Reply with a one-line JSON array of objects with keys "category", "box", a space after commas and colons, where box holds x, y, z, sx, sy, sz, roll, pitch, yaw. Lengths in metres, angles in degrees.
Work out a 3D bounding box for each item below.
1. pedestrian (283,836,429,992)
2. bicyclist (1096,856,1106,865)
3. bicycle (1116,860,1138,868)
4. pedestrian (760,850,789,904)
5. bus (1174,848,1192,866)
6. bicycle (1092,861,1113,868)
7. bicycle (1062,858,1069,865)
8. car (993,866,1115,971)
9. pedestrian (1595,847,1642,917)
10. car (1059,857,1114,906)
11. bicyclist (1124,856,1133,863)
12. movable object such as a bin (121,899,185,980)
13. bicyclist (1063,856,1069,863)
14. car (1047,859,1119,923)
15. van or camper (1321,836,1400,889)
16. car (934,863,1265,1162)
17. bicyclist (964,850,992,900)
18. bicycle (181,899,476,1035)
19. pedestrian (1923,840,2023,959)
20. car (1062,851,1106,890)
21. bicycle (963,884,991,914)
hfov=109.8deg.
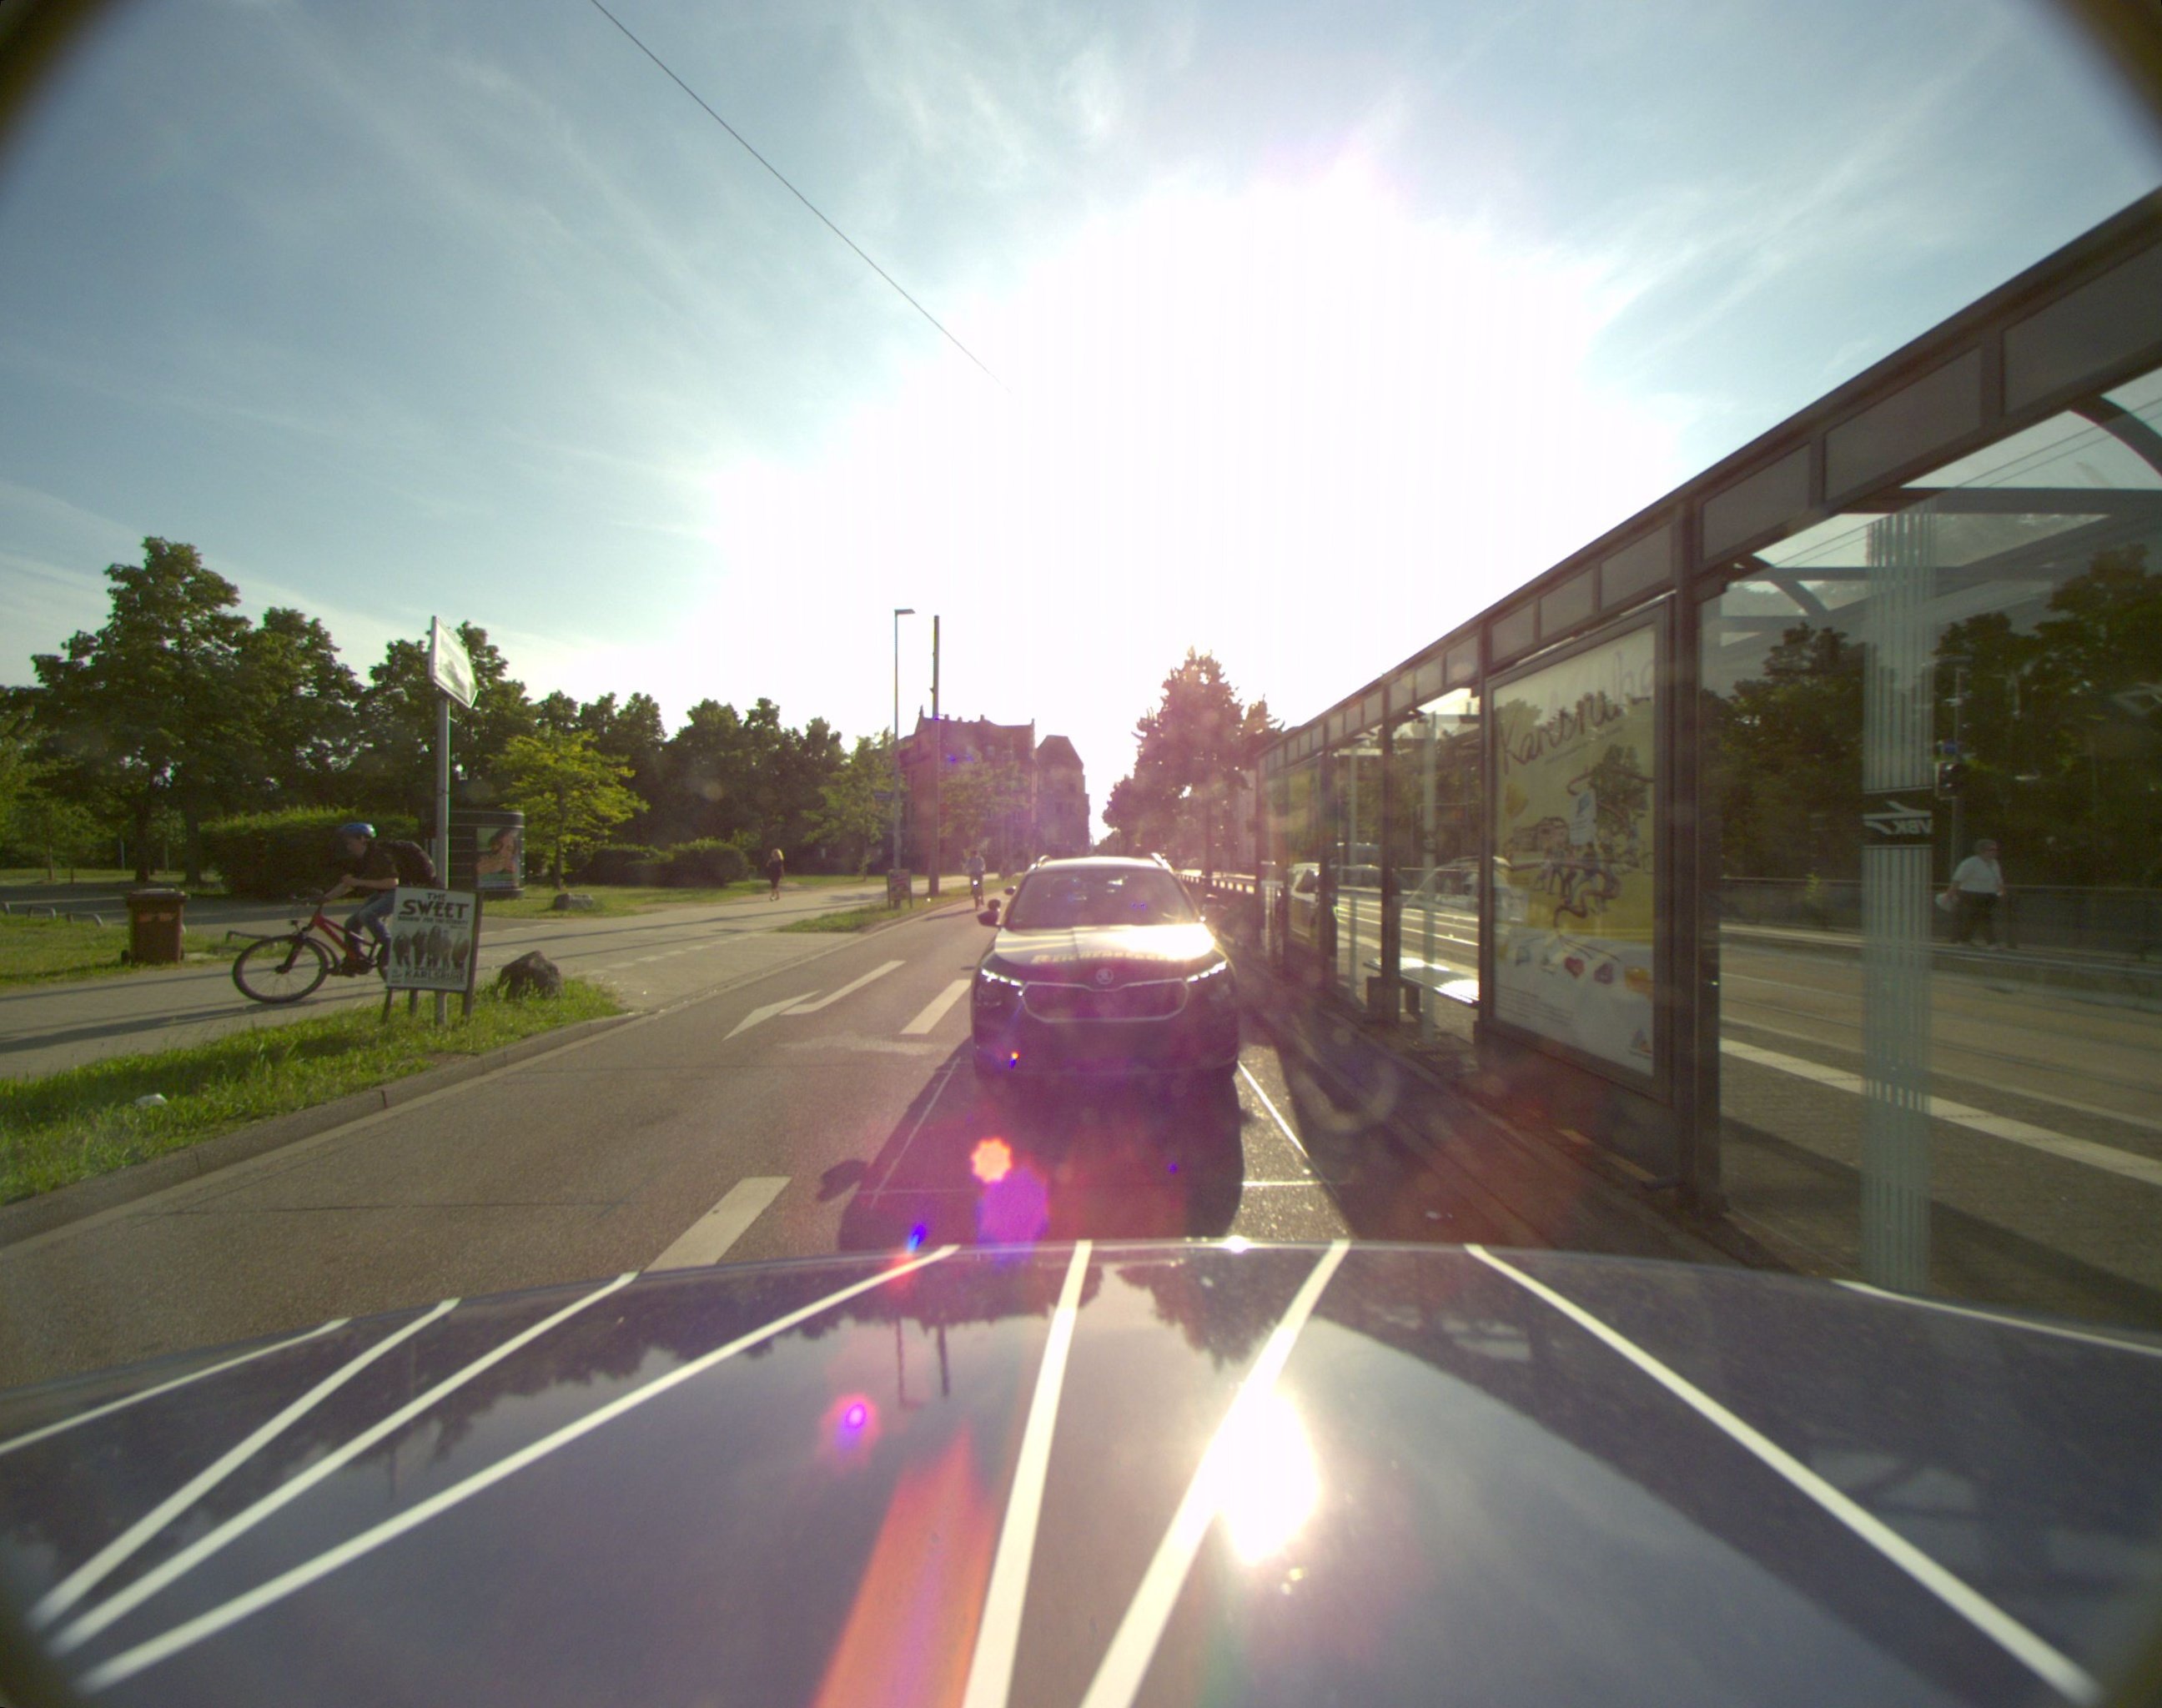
[{"category": "pedestrian", "box": [-7.469, 0.585, 7.851, 0.636, 1.512, 0.846, -2, 1, 23]}, {"category": "bicyclist", "box": [2.434, 0.814, 91.720, 1.217, 1.018, 0.671, 0, 0, 4]}, {"category": "bicycle", "box": [5.657, 1.237, 93.229, 2.541, 0.876, 0.630, 0, 0, -15]}, {"category": "pedestrian", "box": [-9.800, 0.719, 24.305, 0.621, 1.675, 0.618, -2, 1, 1]}, {"category": "bus", "box": [20.085, 0.528, 150.033, 2.437, 3.415, 9.261, -2, 1, 1]}, {"category": "bicycle", "box": [2.576, 1.283, 91.692, 2.536, 0.876, 0.631, 0, 0, 5]}, {"category": "bicycle", "box": [-2.058, 1.052, 102.384, 0.630, 0.876, 2.538, 0, 0, -8]}, {"category": "car", "box": [-0.365, 0.987, 13.336, 1.756, 1.451, 4.235, -1, 0, 1]}, {"category": "pedestrian", "box": [13.345, 0.693, 18.874, 0.621, 1.675, 0.618, 3, 1, 1]}, {"category": "car", "box": [0.215, 0.910, 26.884, 1.756, 1.534, 4.235, -1, 0, 1]}, {"category": "bicyclist", "box": [5.850, 0.657, 93.258, 0.898, 0.908, 0.615, 0, 0, -15]}, {"category": "movable object such as a bin", "box": [-11.407, 1.028, 9.351, 0.603, 0.912, 0.457, 1, 1, 42]}, {"category": "bicyclist", "box": [-2.037, 0.759, 102.409, 0.616, 0.908, 0.897, 0, 0, -8]}, {"category": "car", "box": [0.094, 0.932, 21.003, 1.756, 1.534, 4.235, -1, 0, 1]}, {"category": "van or camper", "box": [17.018, 0.430, 46.751, 2.527, 2.951, 6.411, -2, 1, 1]}, {"category": "car", "box": [0.135, 0.887, 6.238, 1.756, 1.534, 4.235, -1, 0, 1]}, {"category": "bicyclist", "box": [-3.091, 0.621, 22.808, 0.689, 1.445, 1.111, 0, 0, 0]}, {"category": "bicycle", "box": [-7.466, 1.051, 7.697, 0.650, 1.040, 1.983, -2, 1, 23]}, {"category": "pedestrian", "box": [13.087, 0.647, 11.169, 0.621, 1.675, 0.618, 3, 1, 1]}, {"category": "car", "box": [0.162, 0.681, 32.977, 1.756, 1.534, 4.235, -1, 0, 1]}, {"category": "bicycle", "box": [-3.080, 1.332, 22.736, 0.567, 0.789, 2.041, 0, 0, 0]}]
